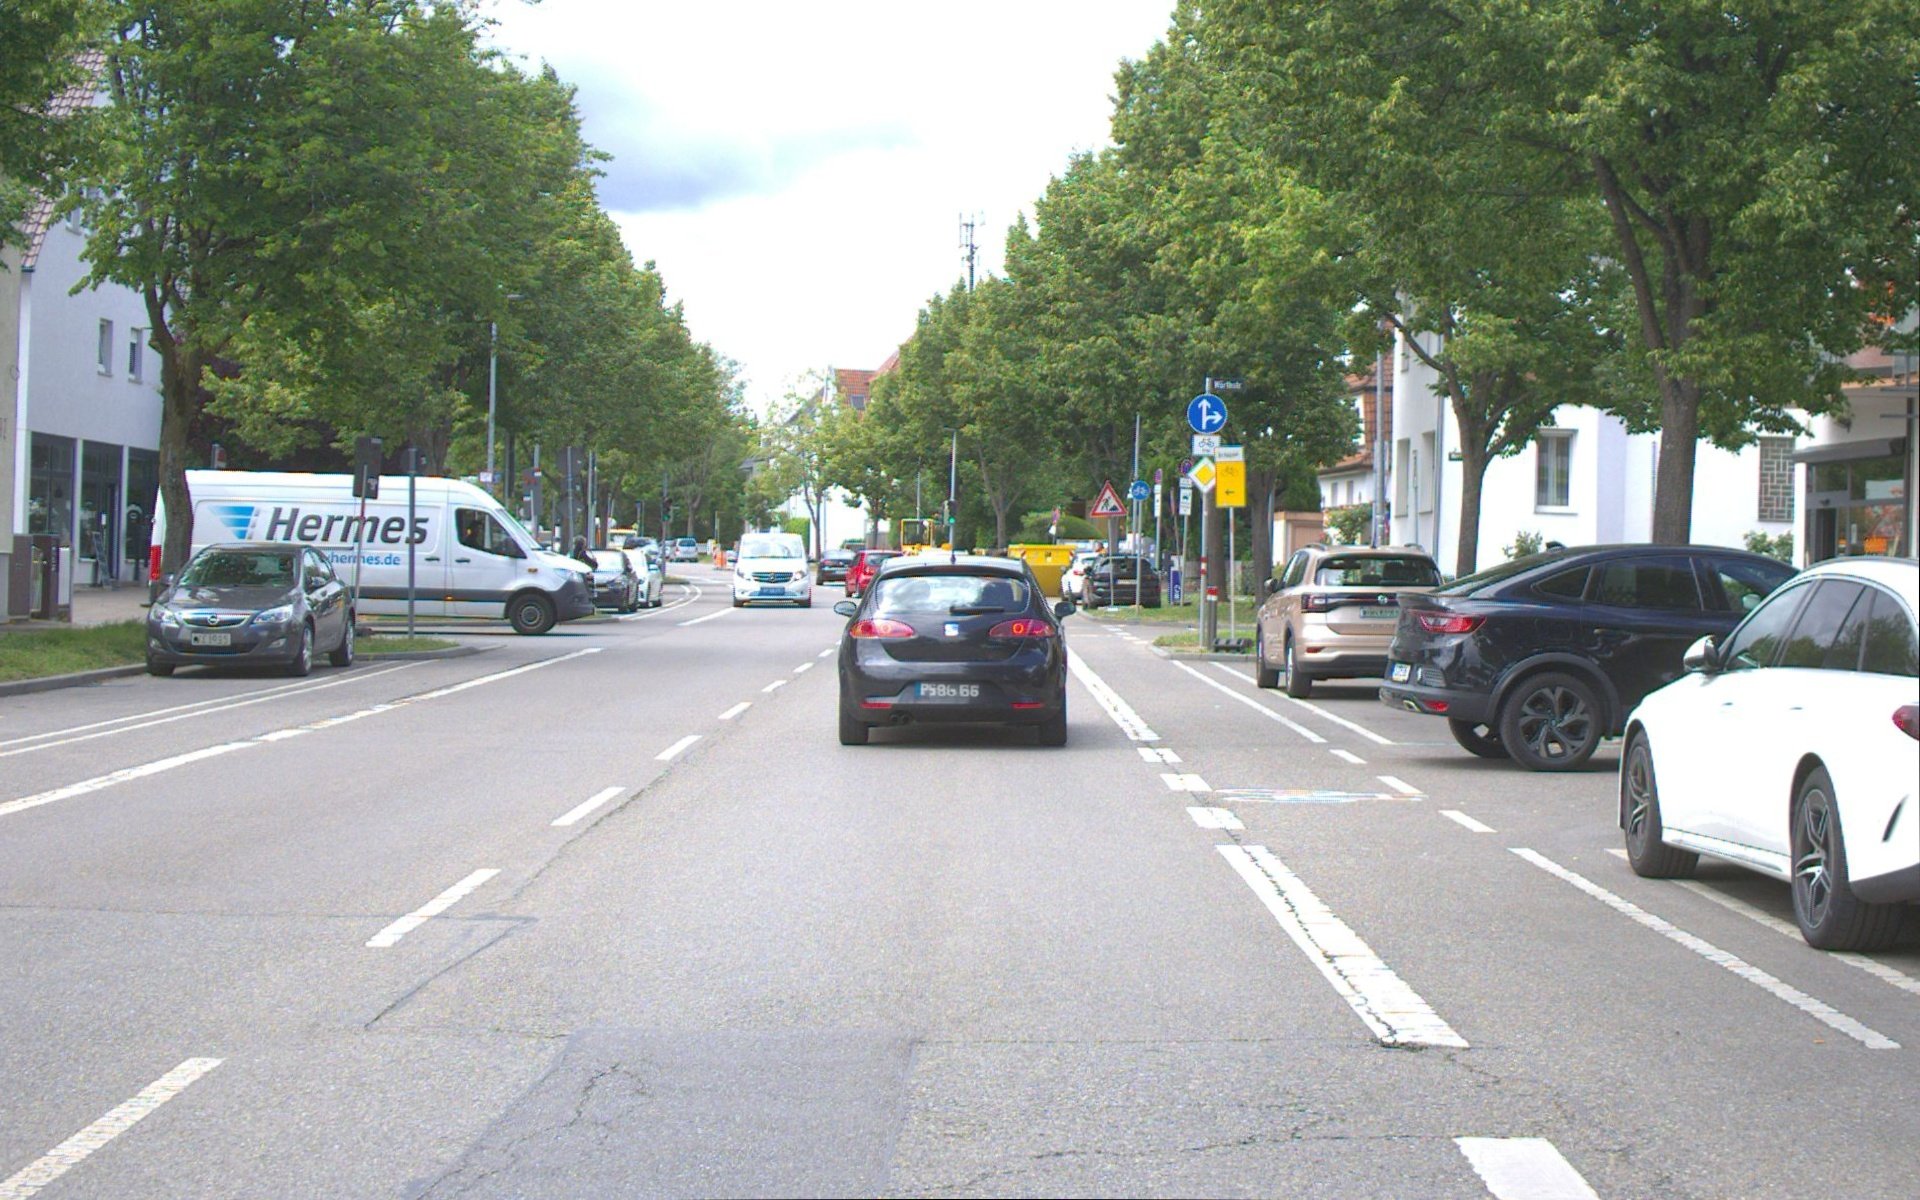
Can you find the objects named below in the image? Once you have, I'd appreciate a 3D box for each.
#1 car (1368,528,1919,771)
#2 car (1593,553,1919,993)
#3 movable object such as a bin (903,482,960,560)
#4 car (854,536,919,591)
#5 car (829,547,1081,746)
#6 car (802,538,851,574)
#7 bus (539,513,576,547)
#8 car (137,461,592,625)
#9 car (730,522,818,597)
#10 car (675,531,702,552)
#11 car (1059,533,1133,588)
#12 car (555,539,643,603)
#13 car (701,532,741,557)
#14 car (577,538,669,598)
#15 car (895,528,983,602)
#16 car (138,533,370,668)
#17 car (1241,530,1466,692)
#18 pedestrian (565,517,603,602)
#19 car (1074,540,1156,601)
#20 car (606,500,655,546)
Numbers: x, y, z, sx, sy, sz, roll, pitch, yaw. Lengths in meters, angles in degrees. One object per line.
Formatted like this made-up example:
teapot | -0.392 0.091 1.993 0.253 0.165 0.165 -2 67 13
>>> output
car | 5.136 0.312 24.256 4.216 1.632 1.694 0 1 -5
car | 4.014 0.567 14.055 1.805 1.470 4.812 1 1 -2
movable object such as a bin | -1.001 -2.687 117.300 1.768 2.565 3.740 1 1 -2
car | -2.228 -1.115 103.641 1.790 1.617 3.740 0 1 -4
car | -0.110 0.310 26.971 1.818 1.433 3.740 0 1 -2
car | -5.196 -1.712 133.421 1.810 1.370 3.693 1 1 -3
bus | -26.108 -4.523 222.784 1.993 2.116 7.361 1 1 -10
car | -9.888 -0.954 57.596 7.288 2.585 2.221 1 1 -3
car | -4.686 -1.048 87.014 1.966 1.824 4.819 1 1 0
car | -18.976 -4.085 239.960 1.809 1.410 3.694 1 1 -6
car | 3.736 -1.108 95.109 1.672 1.457 4.001 1 1 -3
car | -8.123 -0.669 77.570 1.643 1.415 4.021 0 1 -1
car | -13.806 -3.204 198.629 1.809 1.410 3.694 1 1 -12
car | -8.225 -0.804 84.158 1.714 1.401 4.300 0 1 1
car | -0.506 -0.827 79.917 1.905 1.680 3.740 0 1 -2
car | -8.083 -0.041 39.705 1.731 1.464 4.301 0 1 1
car | 4.062 0.069 36.049 1.722 1.575 4.061 1 1 -2
pedestrian | -7.582 -0.827 69.302 0.542 1.675 0.750 3 2 8
car | 3.821 -0.748 85.151 1.705 1.449 4.617 0 1 -1
car | -15.949 -3.730 166.137 2.092 2.167 5.046 1 1 -8
